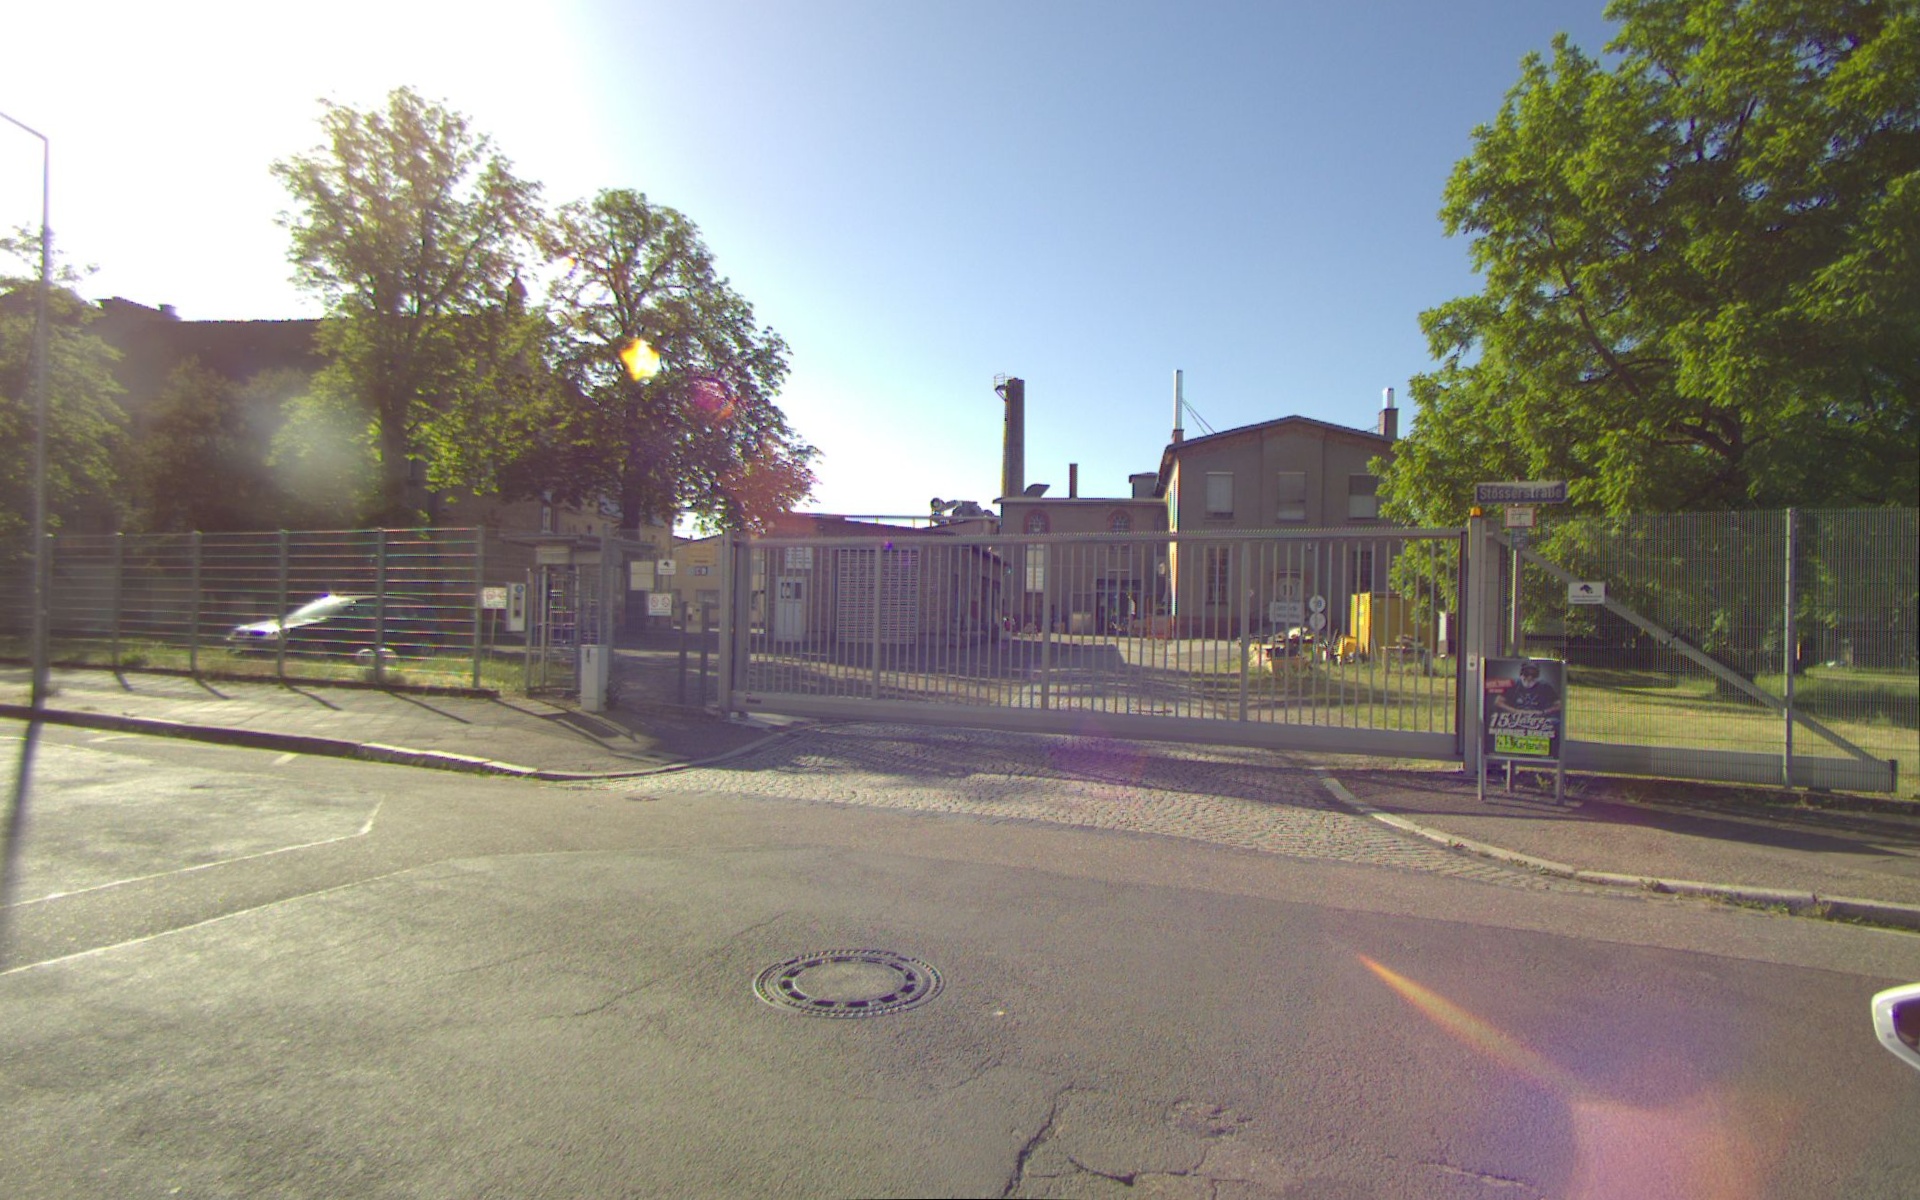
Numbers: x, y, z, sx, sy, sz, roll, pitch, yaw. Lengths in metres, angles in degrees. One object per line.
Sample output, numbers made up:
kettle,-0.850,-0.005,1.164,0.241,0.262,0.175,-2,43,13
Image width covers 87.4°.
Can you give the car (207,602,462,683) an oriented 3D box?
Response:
car,-12.568,0.836,20.491,1.961,1.439,3.999,1,-1,22
